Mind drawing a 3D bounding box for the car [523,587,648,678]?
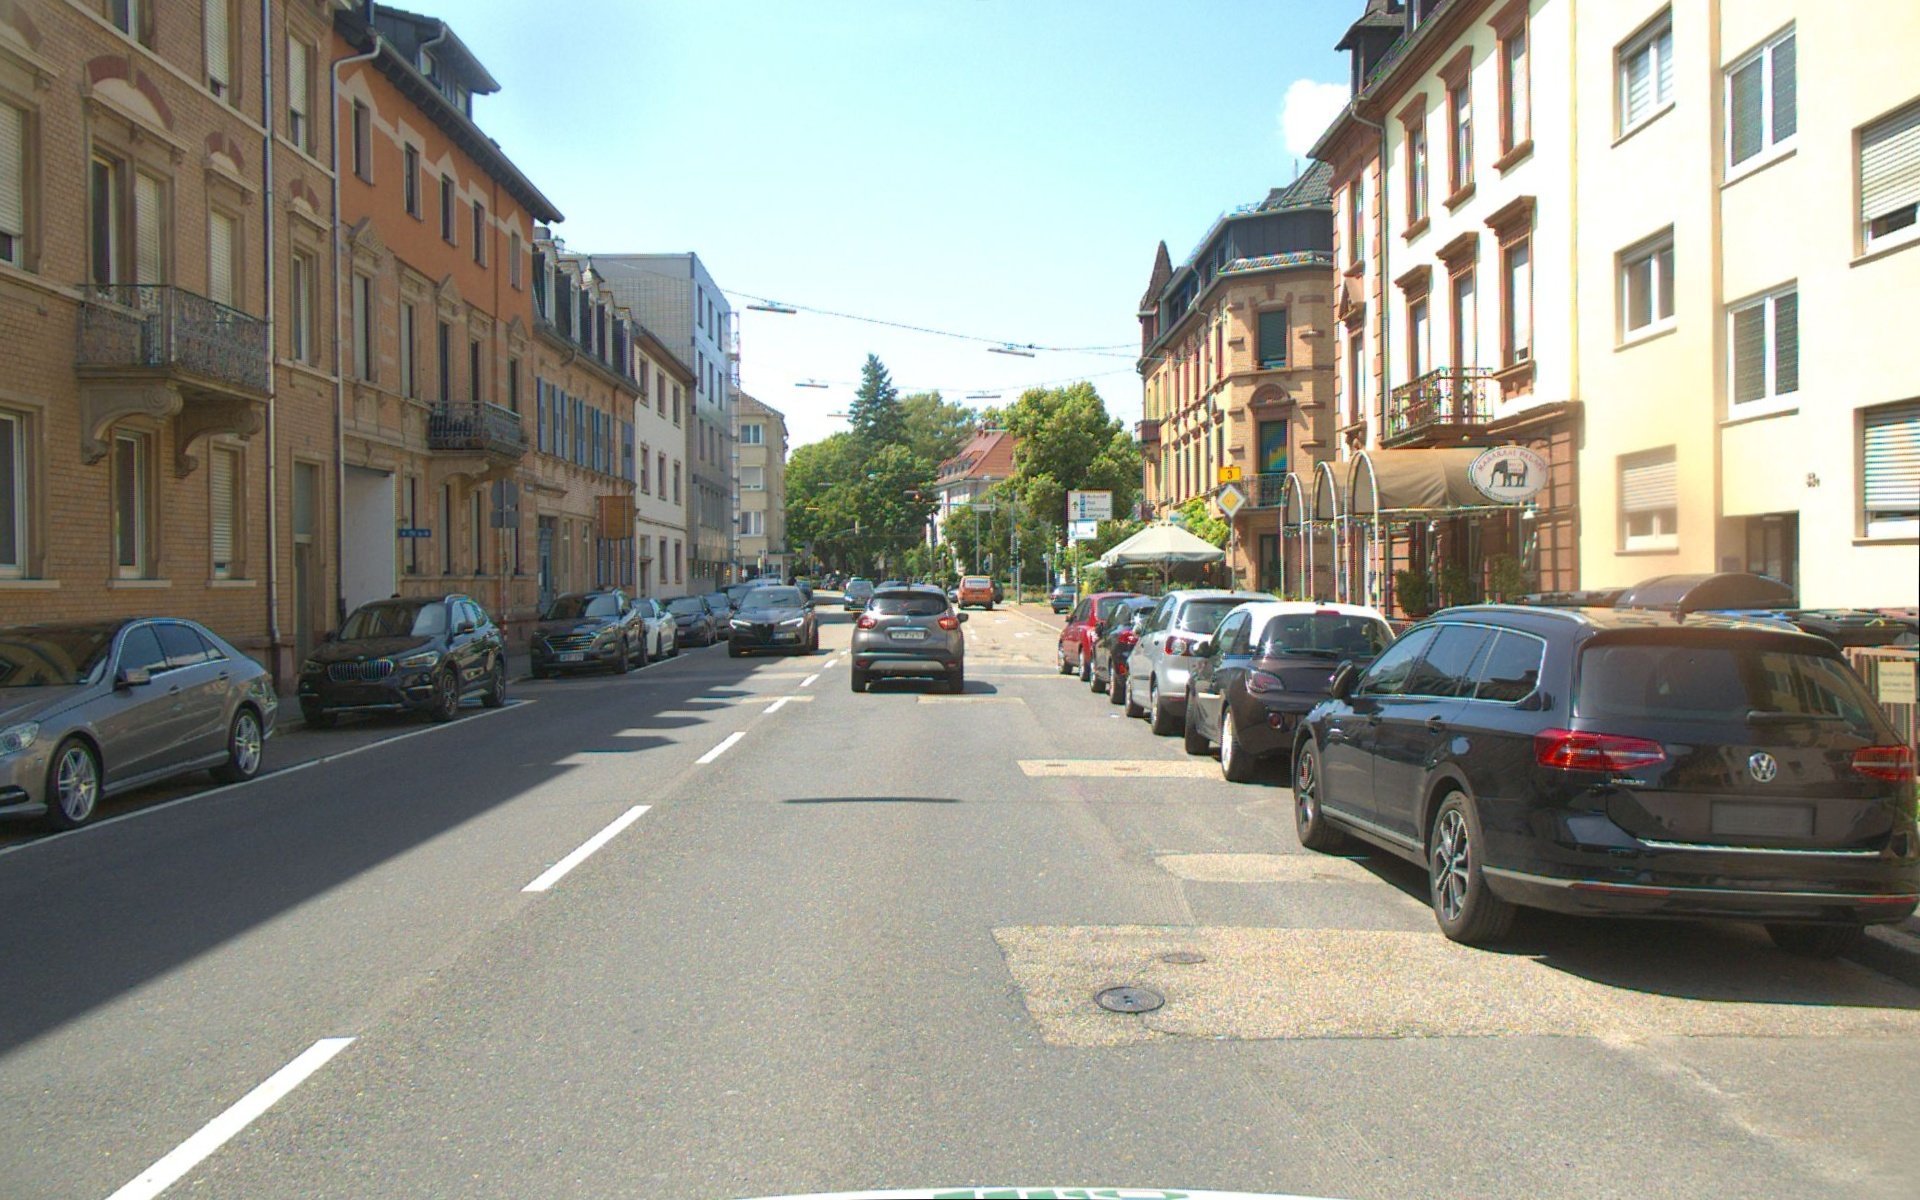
[{"bbox_3d":[-7.558,0.609,33.757,1.868,1.648,4.297,-3,0,-5],"label":"car"}]

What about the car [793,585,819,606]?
[{"bbox_3d":[-12.541,-0.376,134.835,1.754,1.654,3.743,0,1,0],"label":"car"}]

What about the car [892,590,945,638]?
[{"bbox_3d":[-1.579,0.495,61.251,1.776,1.649,4.438,-2,0,-3],"label":"car"}]

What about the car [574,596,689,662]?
[{"bbox_3d":[-7.746,0.645,39.367,1.866,1.381,4.301,-3,0,-1],"label":"car"}]

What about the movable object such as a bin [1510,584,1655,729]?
[{"bbox_3d":[6.409,0.559,17.107,1.021,1.426,1.254,1,0,1],"label":"movable object such as a bin"}]

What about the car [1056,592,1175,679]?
[{"bbox_3d":[2.750,0.602,29.862,1.580,1.468,3.434,0,0,-4],"label":"car"}]

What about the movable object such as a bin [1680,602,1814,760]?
[{"bbox_3d":[6.236,0.624,13.143,0.625,1.197,0.911,1,0,1],"label":"movable object such as a bin"}]

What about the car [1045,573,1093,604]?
[{"bbox_3d":[5.574,-0.586,84.362,1.857,1.534,3.946,-1,0,12],"label":"car"}]

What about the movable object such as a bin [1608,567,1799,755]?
[{"bbox_3d":[6.465,0.504,14.479,1.021,1.544,1.446,1,0,1],"label":"movable object such as a bin"}]

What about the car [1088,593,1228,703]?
[{"bbox_3d":[2.815,0.648,24.155,1.578,1.487,3.504,0,0,-1],"label":"car"}]

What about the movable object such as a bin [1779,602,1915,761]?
[{"bbox_3d":[7.030,0.625,13.139,0.625,1.207,0.852,1,0,1],"label":"movable object such as a bin"}]

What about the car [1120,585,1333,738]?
[{"bbox_3d":[3.018,0.635,19.529,1.822,1.580,4.000,1,0,-1],"label":"car"}]

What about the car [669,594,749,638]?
[{"bbox_3d":[-8.013,0.495,53.070,1.865,1.314,4.302,-1,0,0],"label":"car"}]

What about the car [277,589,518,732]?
[{"bbox_3d":[-7.426,0.726,22.301,1.867,1.648,4.300,-3,0,-2],"label":"car"}]

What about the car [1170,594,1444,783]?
[{"bbox_3d":[3.026,0.703,15.210,1.626,1.466,3.999,1,0,-1],"label":"car"}]

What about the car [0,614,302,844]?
[{"bbox_3d":[-7.056,0.898,13.076,1.866,1.425,4.753,-3,0,-2],"label":"car"}]

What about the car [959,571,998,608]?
[{"bbox_3d":[1.077,-0.599,93.906,1.951,2.049,4.468,-1,0,4],"label":"car"}]

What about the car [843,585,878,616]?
[{"bbox_3d":[-5.352,0.021,89.299,1.754,1.654,3.742,0,1,-2],"label":"car"}]

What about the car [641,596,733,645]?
[{"bbox_3d":[-7.808,0.553,47.665,1.865,1.314,4.303,-1,0,1],"label":"car"}]

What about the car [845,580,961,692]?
[{"bbox_3d":[-0.899,0.511,26.352,1.709,1.644,3.999,0,0,-2],"label":"car"}]

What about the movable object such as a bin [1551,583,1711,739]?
[{"bbox_3d":[6.397,0.556,15.850,1.021,1.426,1.254,1,0,1],"label":"movable object such as a bin"}]

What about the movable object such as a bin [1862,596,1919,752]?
[{"bbox_3d":[7.730,0.576,13.148,0.654,1.197,0.852,1,0,1],"label":"movable object such as a bin"}]

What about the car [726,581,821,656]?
[{"bbox_3d":[-4.466,0.401,40.091,1.900,1.654,3.999,-2,0,-2],"label":"car"}]

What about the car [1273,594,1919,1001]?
[{"bbox_3d":[3.053,0.743,8.538,1.823,1.490,4.616,1,0,-2],"label":"car"}]

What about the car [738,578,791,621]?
[{"bbox_3d":[-8.713,-0.030,73.941,1.866,1.853,4.302,-1,0,0],"label":"car"}]

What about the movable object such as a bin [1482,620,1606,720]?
[{"bbox_3d":[6.423,0.755,18.243,1.021,1.040,0.991,1,0,1],"label":"movable object such as a bin"}]
